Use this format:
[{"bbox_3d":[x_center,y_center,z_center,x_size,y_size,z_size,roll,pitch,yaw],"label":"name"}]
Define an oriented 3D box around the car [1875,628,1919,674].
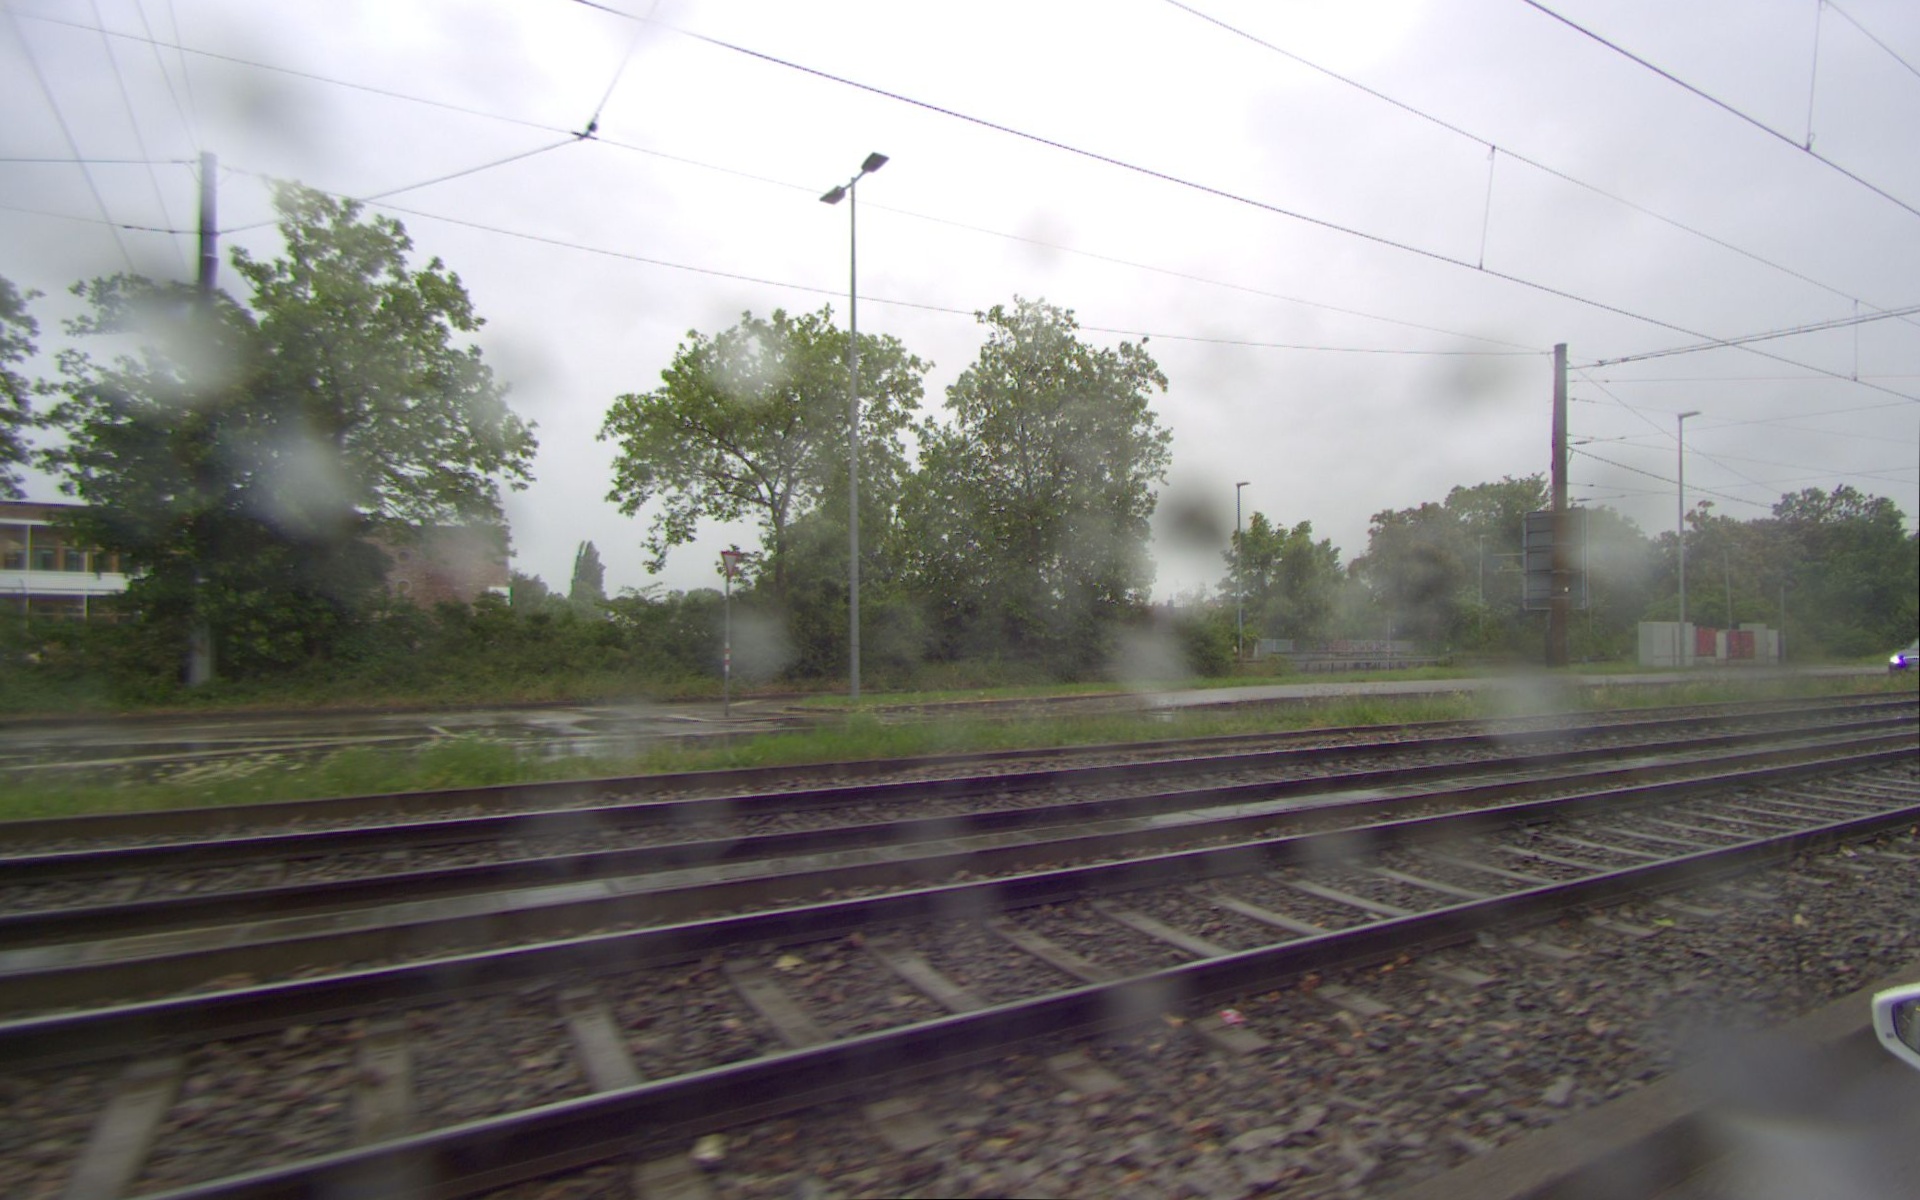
[{"bbox_3d":[32.173,1.637,32.790,5.323,1.423,1.984,1,-1,-31],"label":"car"}]
